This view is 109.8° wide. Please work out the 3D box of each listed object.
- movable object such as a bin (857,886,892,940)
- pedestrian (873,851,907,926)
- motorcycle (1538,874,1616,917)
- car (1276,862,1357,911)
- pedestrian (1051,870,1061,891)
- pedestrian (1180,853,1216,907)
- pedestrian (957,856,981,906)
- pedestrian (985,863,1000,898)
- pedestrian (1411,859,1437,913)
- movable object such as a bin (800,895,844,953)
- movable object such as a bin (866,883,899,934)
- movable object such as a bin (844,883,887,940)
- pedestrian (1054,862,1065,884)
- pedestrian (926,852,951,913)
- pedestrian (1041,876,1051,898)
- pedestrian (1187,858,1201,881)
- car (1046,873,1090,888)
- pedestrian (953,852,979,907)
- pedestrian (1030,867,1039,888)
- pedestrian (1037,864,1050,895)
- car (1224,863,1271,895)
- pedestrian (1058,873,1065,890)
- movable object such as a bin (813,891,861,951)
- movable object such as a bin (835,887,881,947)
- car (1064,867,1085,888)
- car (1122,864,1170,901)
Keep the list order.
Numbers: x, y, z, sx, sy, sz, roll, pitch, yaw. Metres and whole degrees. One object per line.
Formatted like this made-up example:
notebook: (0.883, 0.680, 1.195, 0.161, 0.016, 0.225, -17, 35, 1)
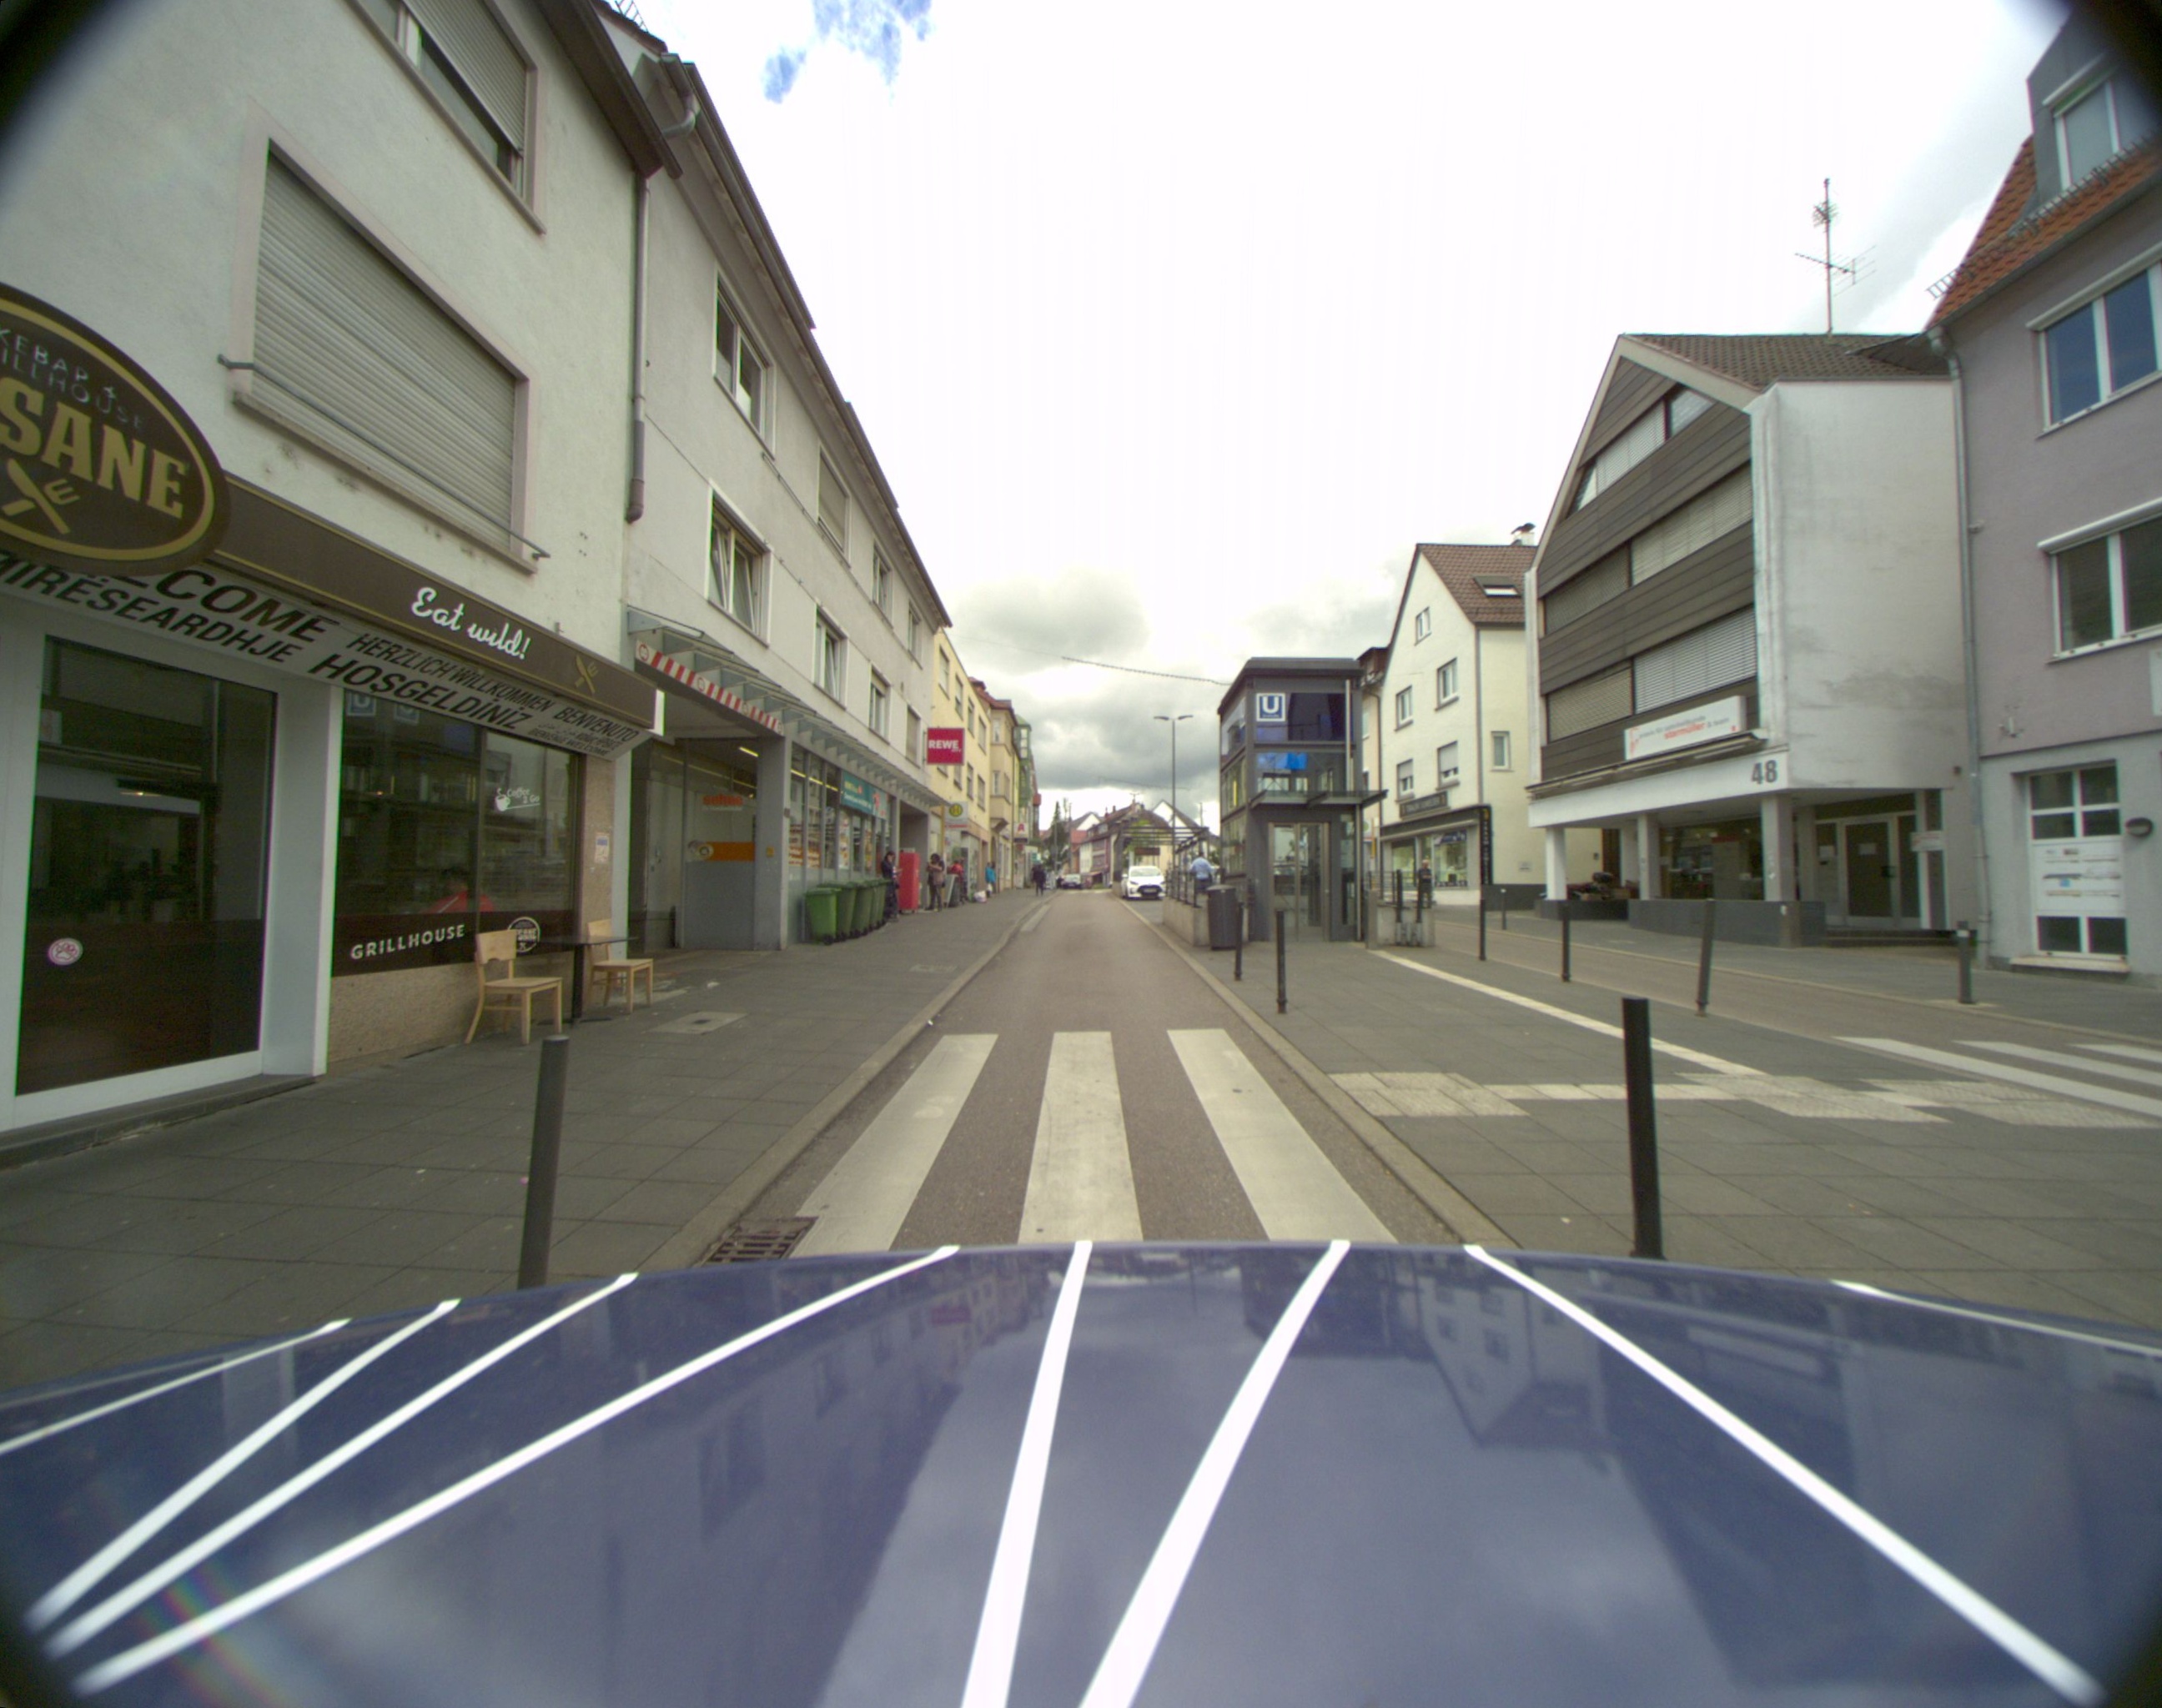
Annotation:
movable object such as a bin: (-4.241, 1.202, 15.620, 0.569, 1.053, 0.574, 0, 0, 0)
pedestrian: (-4.478, 0.798, 17.840, 0.628, 1.716, 0.606, -2, 1, -23)
motorcycle: (14.429, 1.201, 22.138, 1.854, 1.134, 0.634, -2, 1, 0)
car: (8.651, 1.137, 28.242, 1.684, 1.562, 4.122, -2, 0, 0)
pedestrian: (-1.953, 2.035, 58.779, 0.657, 1.620, 0.743, -2, 1, -6)
pedestrian: (4.152, 0.919, 26.978, 1.097, 1.831, 0.931, -2, 1, 1)
pedestrian: (-3.957, 0.934, 26.842, 0.608, 1.716, 0.626, -2, 1, -29)
pedestrian: (-4.153, 1.241, 35.677, 0.627, 1.620, 0.607, -2, 1, -5)
pedestrian: (11.152, 1.044, 24.707, 0.592, 1.706, 0.513, -2, 1, 0)
movable object such as a bin: (-4.422, 1.184, 12.991, 0.568, 0.951, 0.498, 0, 0, 0)
movable object such as a bin: (-4.223, 1.153, 16.204, 0.560, 1.050, 0.559, 0, 0, 0)
movable object such as a bin: (-4.235, 1.129, 14.976, 0.652, 1.074, 0.659, 0, 0, 0)
pedestrian: (-1.577, 1.405, 55.886, 0.657, 1.620, 0.743, -2, 1, -6)
pedestrian: (-4.132, 0.817, 22.047, 0.627, 1.716, 0.607, 2, 1, -5)
pedestrian: (-2.732, 2.517, 58.681, 0.657, 1.620, 0.743, -2, 1, -6)
pedestrian: (8.130, 1.133, 54.717, 0.745, 1.620, 0.655, -3, 1, -39)
car: (-1.437, 2.967, 86.215, 4.632, 1.570, 1.775, 0, 0, -25)
pedestrian: (-3.928, 0.858, 25.899, 0.629, 1.811, 0.605, -3, 1, -34)
pedestrian: (-3.642, 1.854, 59.929, 0.657, 1.620, 0.743, -2, 1, -2)
pedestrian: (-2.017, 1.357, 40.897, 0.657, 1.620, 0.743, -2, 1, -2)
car: (9.278, 1.354, 42.684, 1.684, 1.562, 4.122, -2, 0, 0)
pedestrian: (-2.016, 2.781, 77.246, 0.657, 1.620, 0.743, -2, 1, -3)
movable object such as a bin: (-4.354, 1.189, 13.579, 0.670, 1.024, 0.560, 0, 0, 0)
movable object such as a bin: (-4.175, 1.162, 14.232, 0.652, 1.074, 0.673, 0, 0, 0)
car: (-0.524, 2.007, 65.561, 1.741, 1.608, 3.843, -2, 0, 0)
car: (2.757, 1.215, 32.863, 1.754, 1.452, 3.602, -2, -1, 0)
